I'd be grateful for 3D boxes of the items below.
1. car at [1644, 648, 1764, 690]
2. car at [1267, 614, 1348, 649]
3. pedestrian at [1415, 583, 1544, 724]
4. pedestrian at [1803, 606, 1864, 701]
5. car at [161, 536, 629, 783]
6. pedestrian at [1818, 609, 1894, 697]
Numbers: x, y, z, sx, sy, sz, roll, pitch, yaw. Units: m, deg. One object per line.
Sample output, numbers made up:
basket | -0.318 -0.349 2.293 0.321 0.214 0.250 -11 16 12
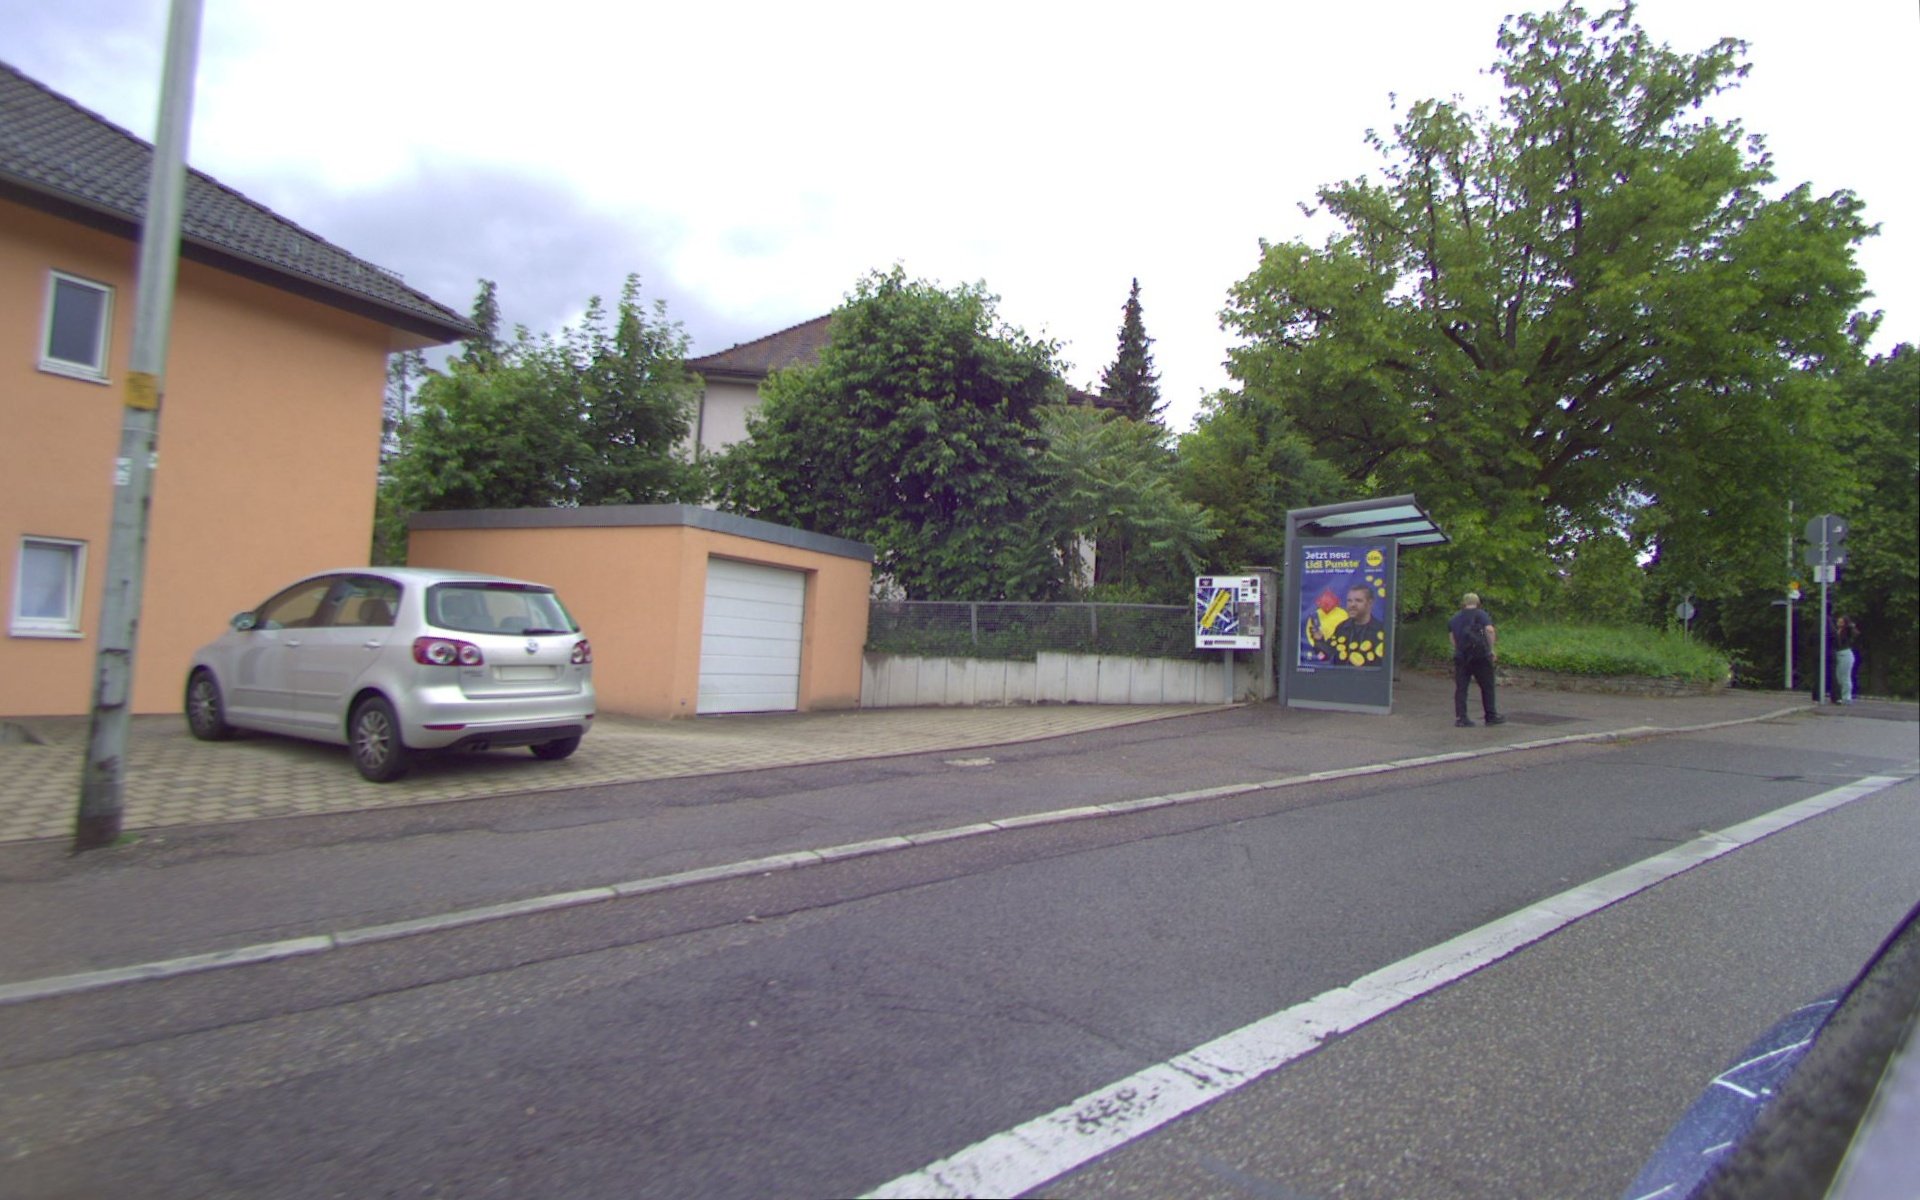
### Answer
car | 29.516 2.688 40.313 1.831 1.433 4.377 2 -2 6
car | 15.599 1.416 45.634 1.826 1.433 4.388 3 -2 -4
pedestrian | 6.505 0.652 12.695 1.075 1.676 0.930 2 -1 -22
pedestrian | 16.841 1.023 19.516 0.804 1.755 0.725 3 -1 -39
car | -4.901 0.368 8.696 3.838 1.585 1.709 4 1 29
pedestrian | 17.669 1.033 19.974 0.803 1.676 0.725 2 -1 -1
